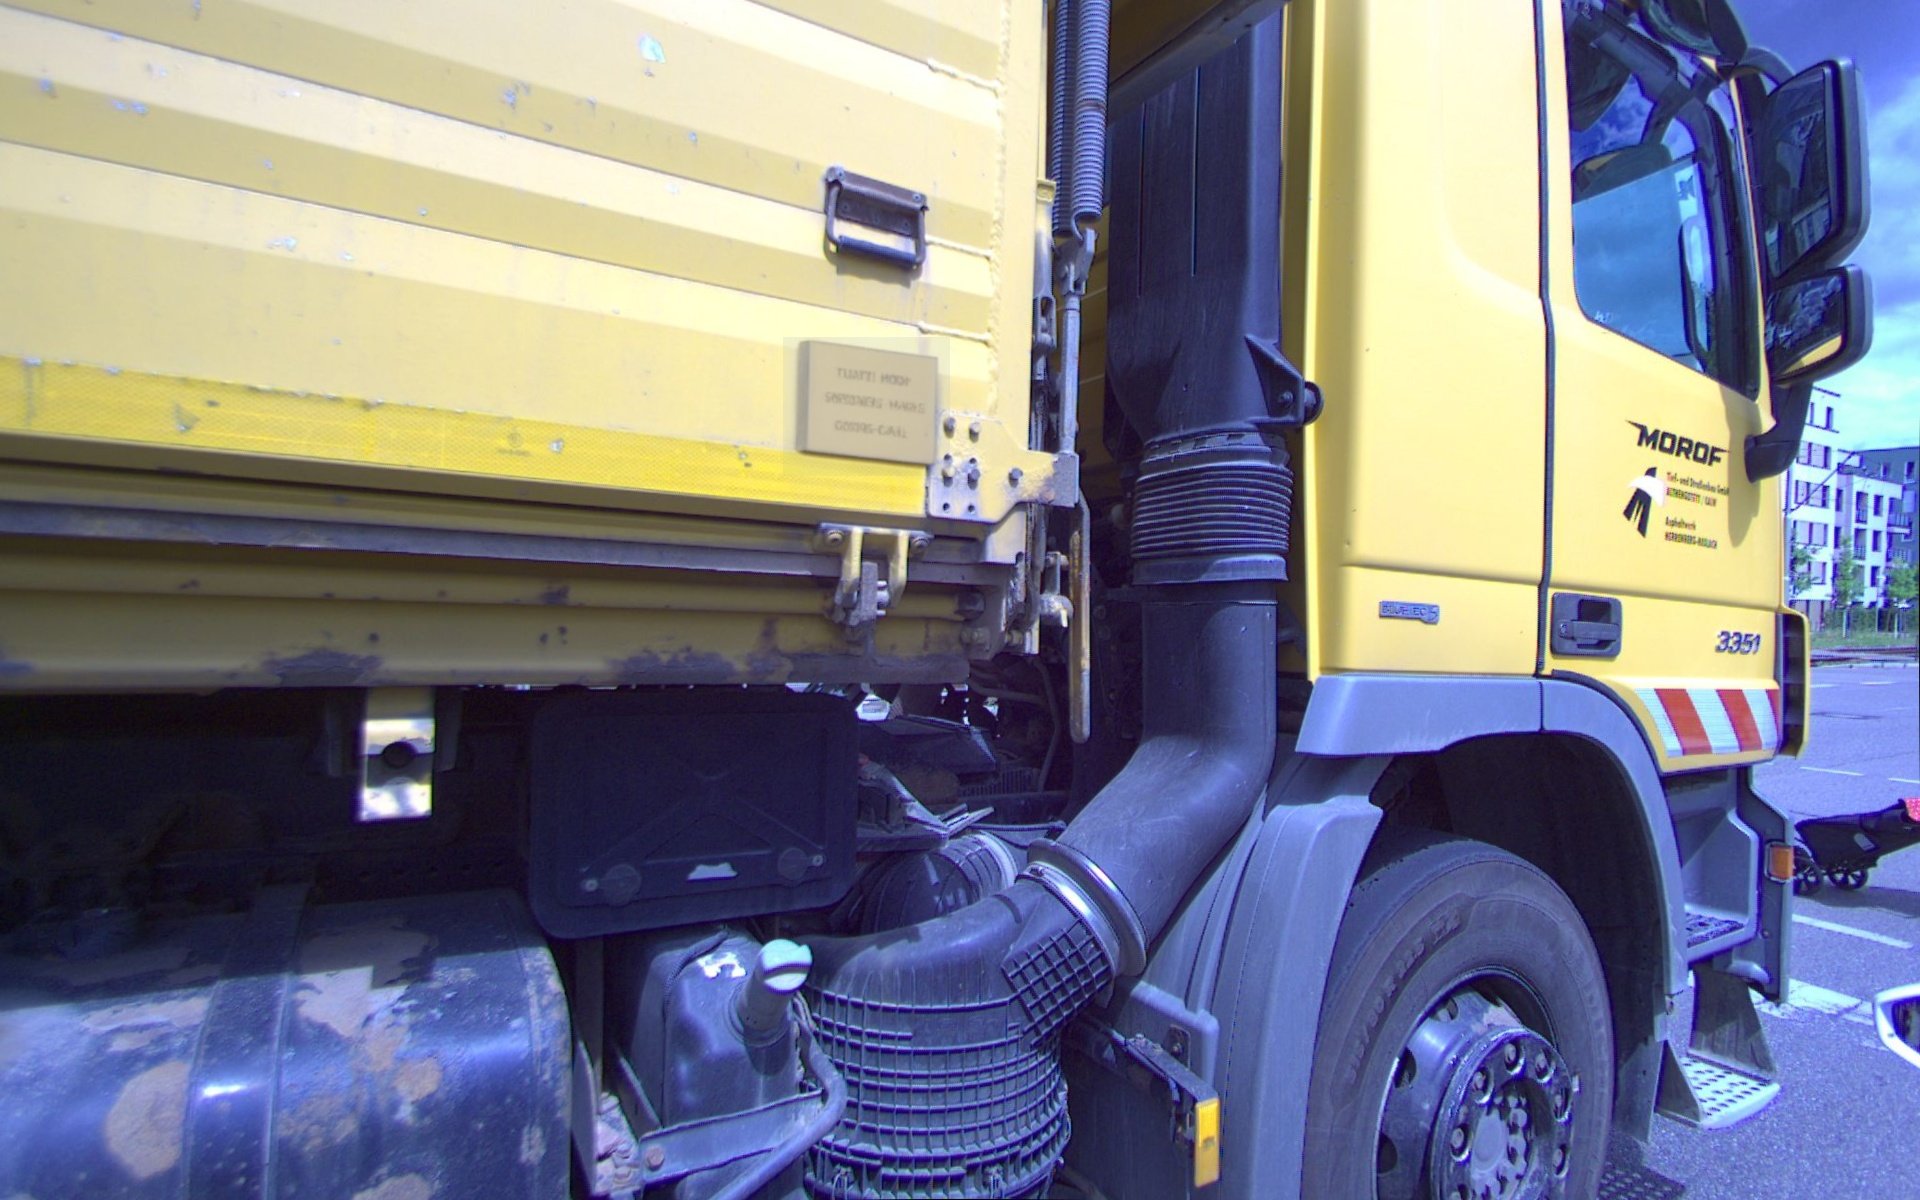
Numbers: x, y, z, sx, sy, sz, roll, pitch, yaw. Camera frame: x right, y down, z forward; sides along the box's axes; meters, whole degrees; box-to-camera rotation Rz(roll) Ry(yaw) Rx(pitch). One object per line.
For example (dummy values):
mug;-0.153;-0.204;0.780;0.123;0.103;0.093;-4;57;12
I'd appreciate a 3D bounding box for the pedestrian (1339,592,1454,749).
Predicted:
pedestrian;4.836;0.745;11.158;0.755;1.656;0.865;1;0;-26

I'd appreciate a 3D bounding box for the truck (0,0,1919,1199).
truck;-1.756;-0.233;1.692;7.916;3.439;3.033;1;0;-32

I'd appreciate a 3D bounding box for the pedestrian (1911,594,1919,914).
pedestrian;5.248;0.766;4.767;0.737;1.575;0.877;1;0;-29

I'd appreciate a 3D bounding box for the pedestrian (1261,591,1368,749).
pedestrian;3.904;0.737;11.098;0.724;1.662;0.819;1;1;-27

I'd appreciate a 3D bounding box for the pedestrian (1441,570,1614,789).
pedestrian;5.028;0.655;8.927;0.938;1.798;1.004;1;0;-33

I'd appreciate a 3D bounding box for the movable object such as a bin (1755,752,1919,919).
movable object such as a bin;4.869;1.218;5.330;0.768;0.671;0.792;1;0;-30

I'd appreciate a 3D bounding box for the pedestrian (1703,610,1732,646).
pedestrian;33.478;1.223;44.407;0.628;1.536;0.827;1;0;-30
